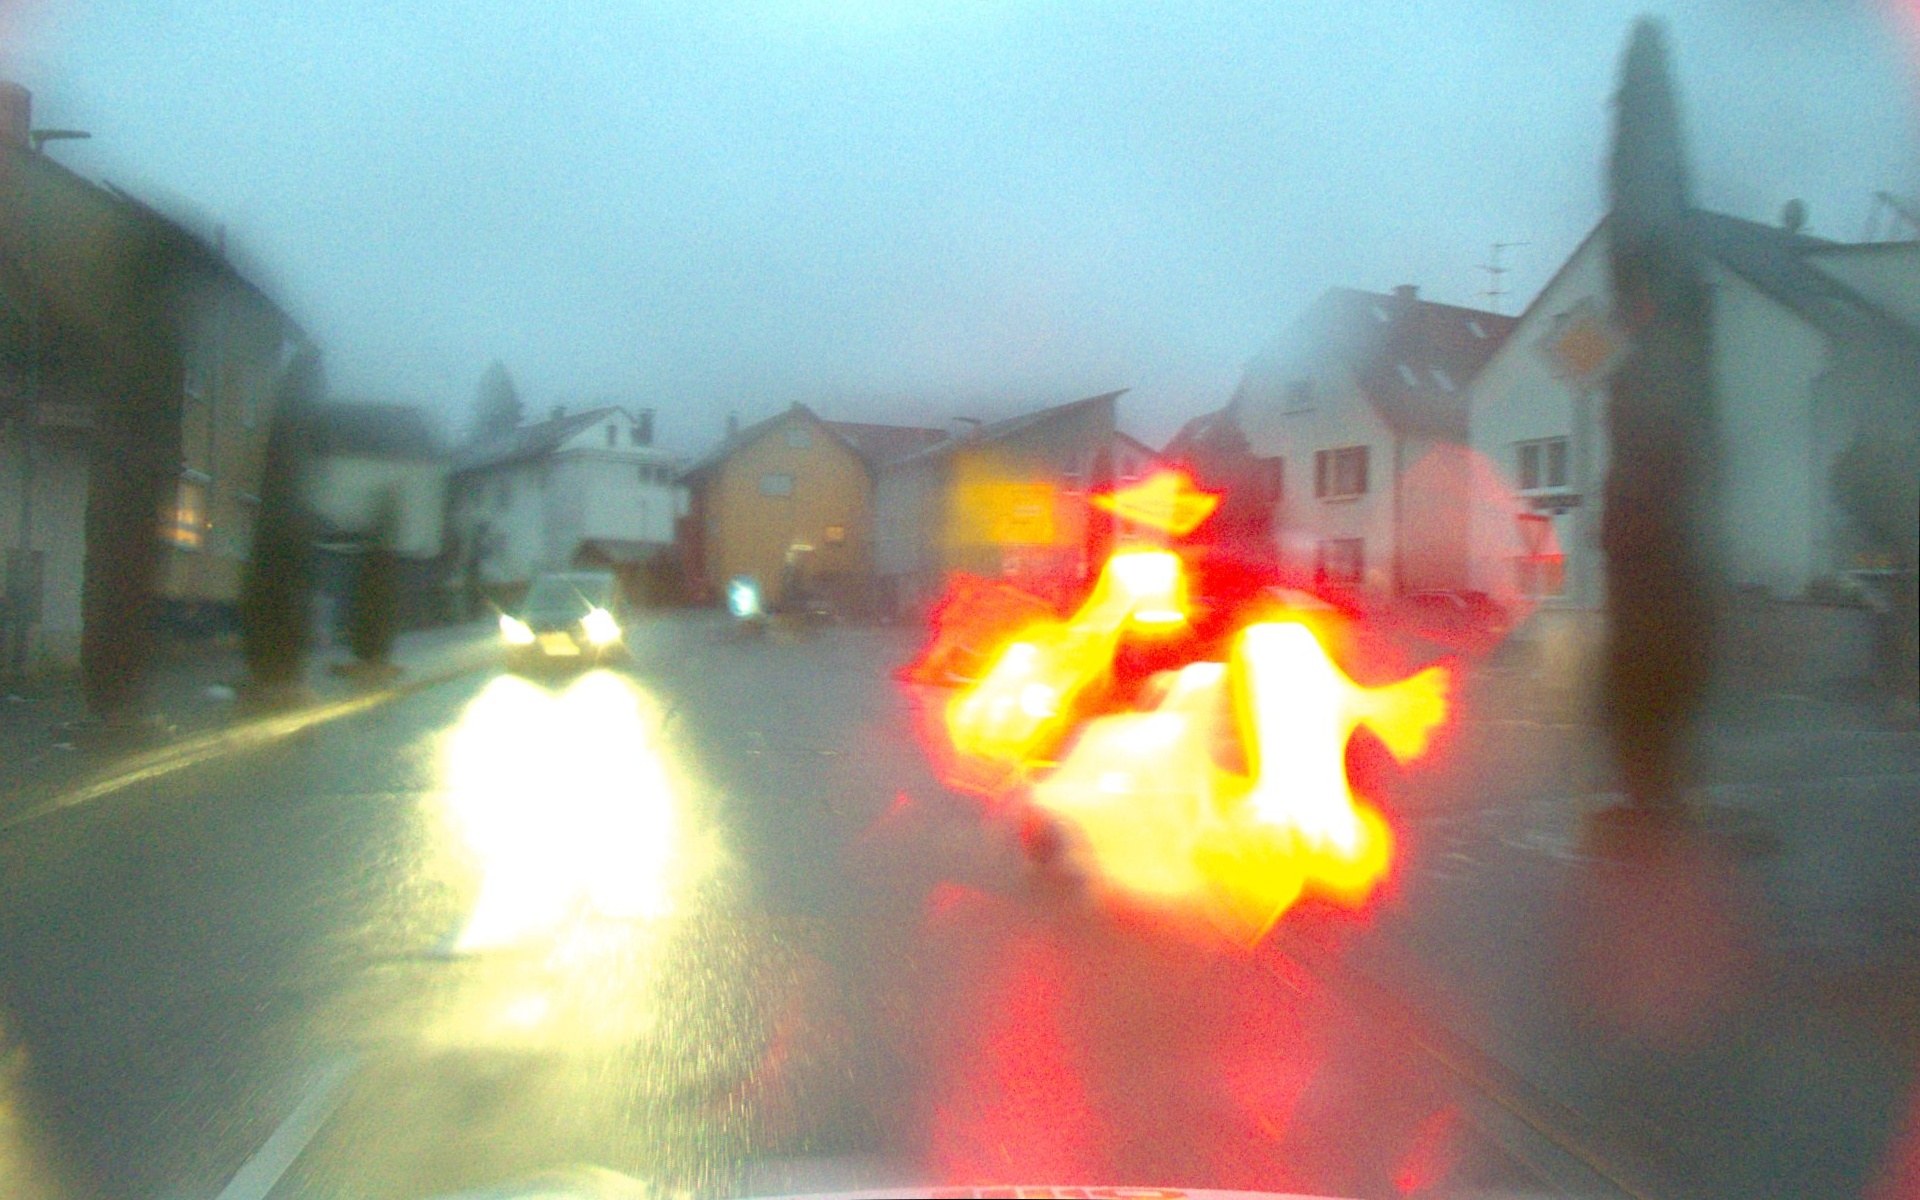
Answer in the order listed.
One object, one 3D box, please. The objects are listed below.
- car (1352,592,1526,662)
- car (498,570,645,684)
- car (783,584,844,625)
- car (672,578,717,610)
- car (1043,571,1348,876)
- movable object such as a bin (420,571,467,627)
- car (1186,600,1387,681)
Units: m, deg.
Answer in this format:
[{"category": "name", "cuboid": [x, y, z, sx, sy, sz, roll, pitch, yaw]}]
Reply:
[{"category": "car", "cuboid": [11.785, 0.635, 40.917, 1.792, 1.594, 3.955, -1, 1, -32]}, {"category": "car", "cuboid": [-6.284, 0.376, 27.131, 1.876, 1.682, 3.994, 2, 1, -7]}, {"category": "car", "cuboid": [-6.608, 0.173, 74.327, 1.962, 1.673, 3.982, 2, 1, -17]}, {"category": "car", "cuboid": [-14.910, -0.358, 92.640, 1.962, 1.673, 3.982, 2, 1, -17]}, {"category": "car", "cuboid": [1.582, 0.616, 10.168, 1.513, 1.491, 3.701, 1, 0, 13]}, {"category": "movable object such as a bin", "cuboid": [-14.910, -0.042, 47.753, 1.075, 1.570, 1.286, 1, 0, -9]}, {"category": "car", "cuboid": [7.164, 0.845, 36.760, 1.792, 1.657, 4.500, -1, 1, -32]}]
